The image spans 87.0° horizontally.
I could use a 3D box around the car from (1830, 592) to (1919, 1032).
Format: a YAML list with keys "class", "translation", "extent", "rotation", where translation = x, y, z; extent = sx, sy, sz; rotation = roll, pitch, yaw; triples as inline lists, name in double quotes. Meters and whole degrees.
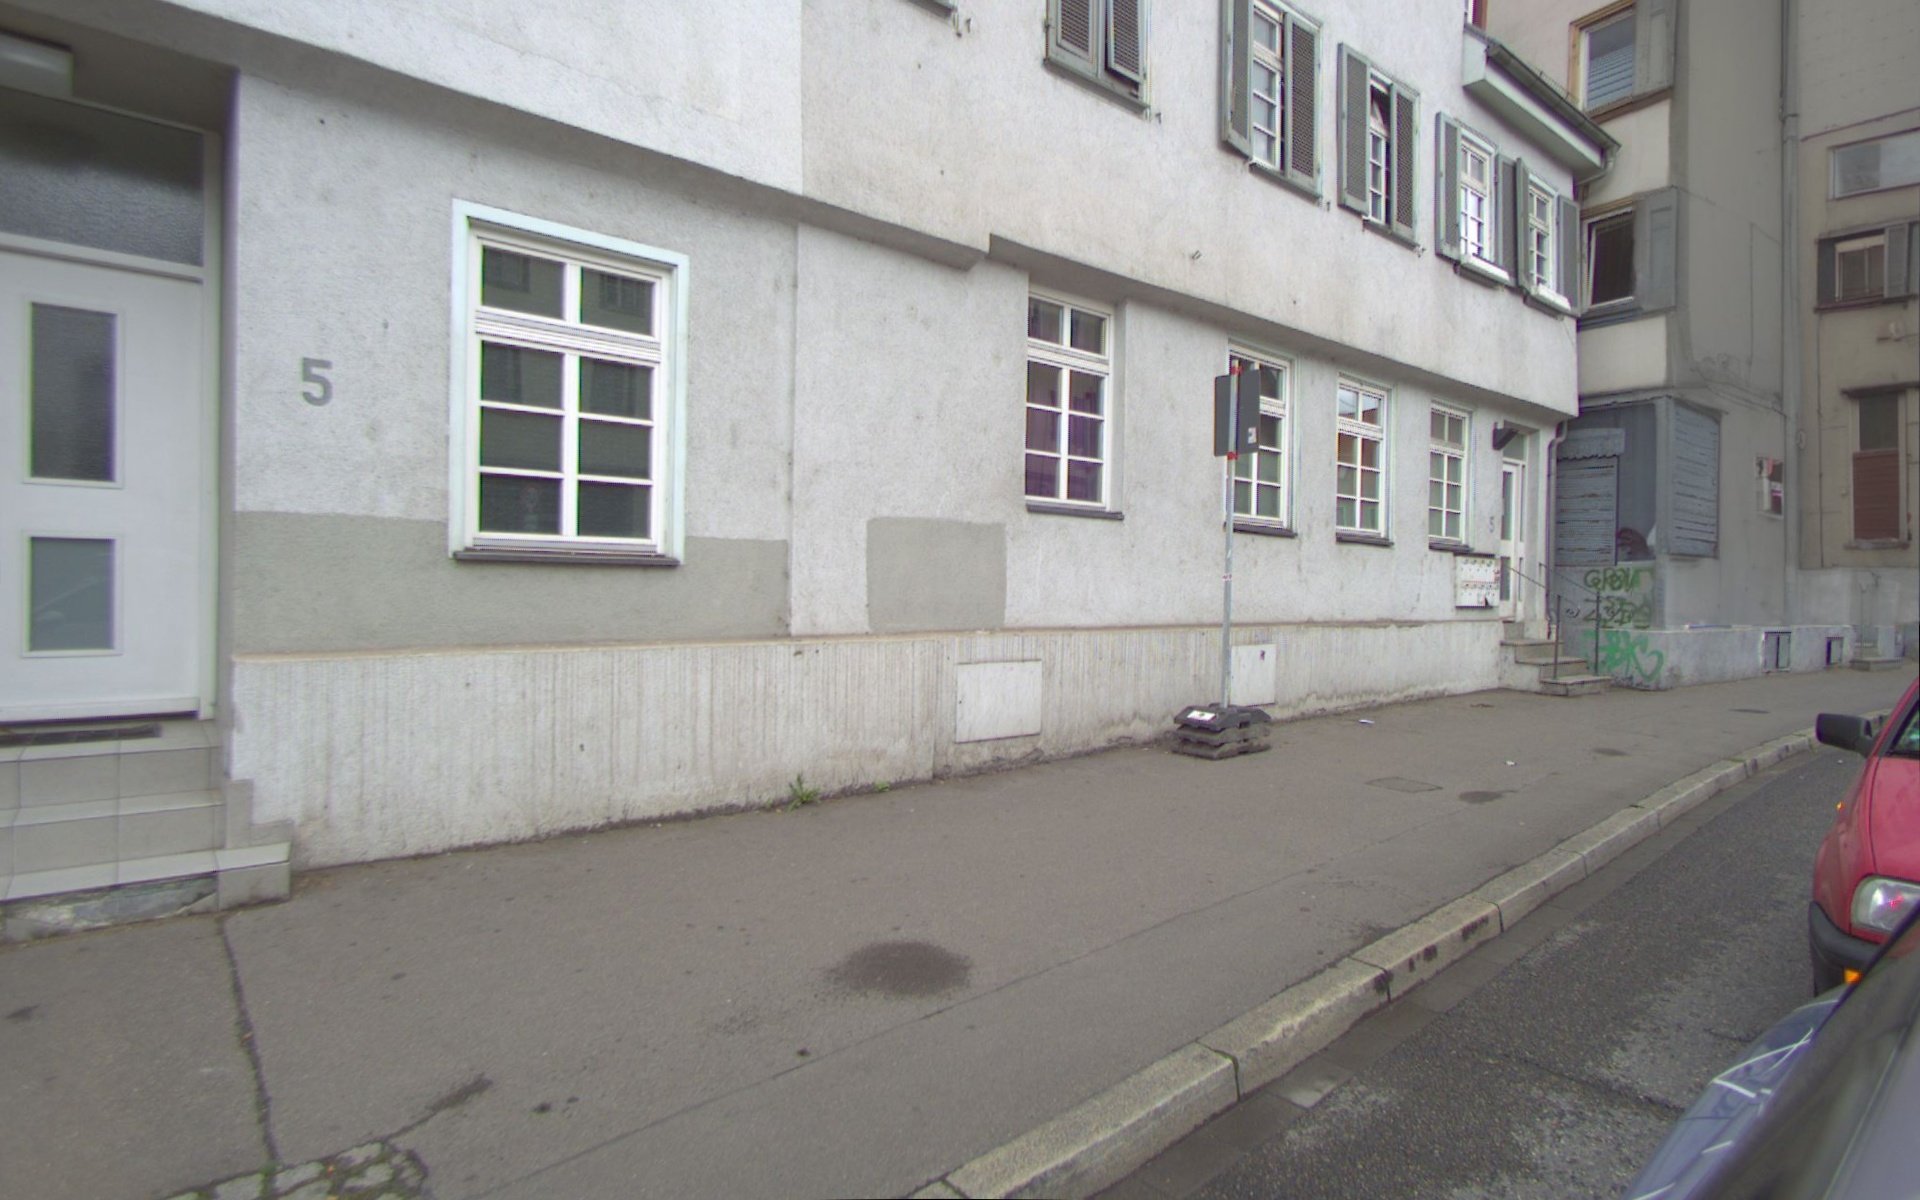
- class: "car"
  translation: [5.052, 0.713, 4.145]
  extent: [3.950, 1.445, 1.684]
  rotation: [0, 1, -41]
